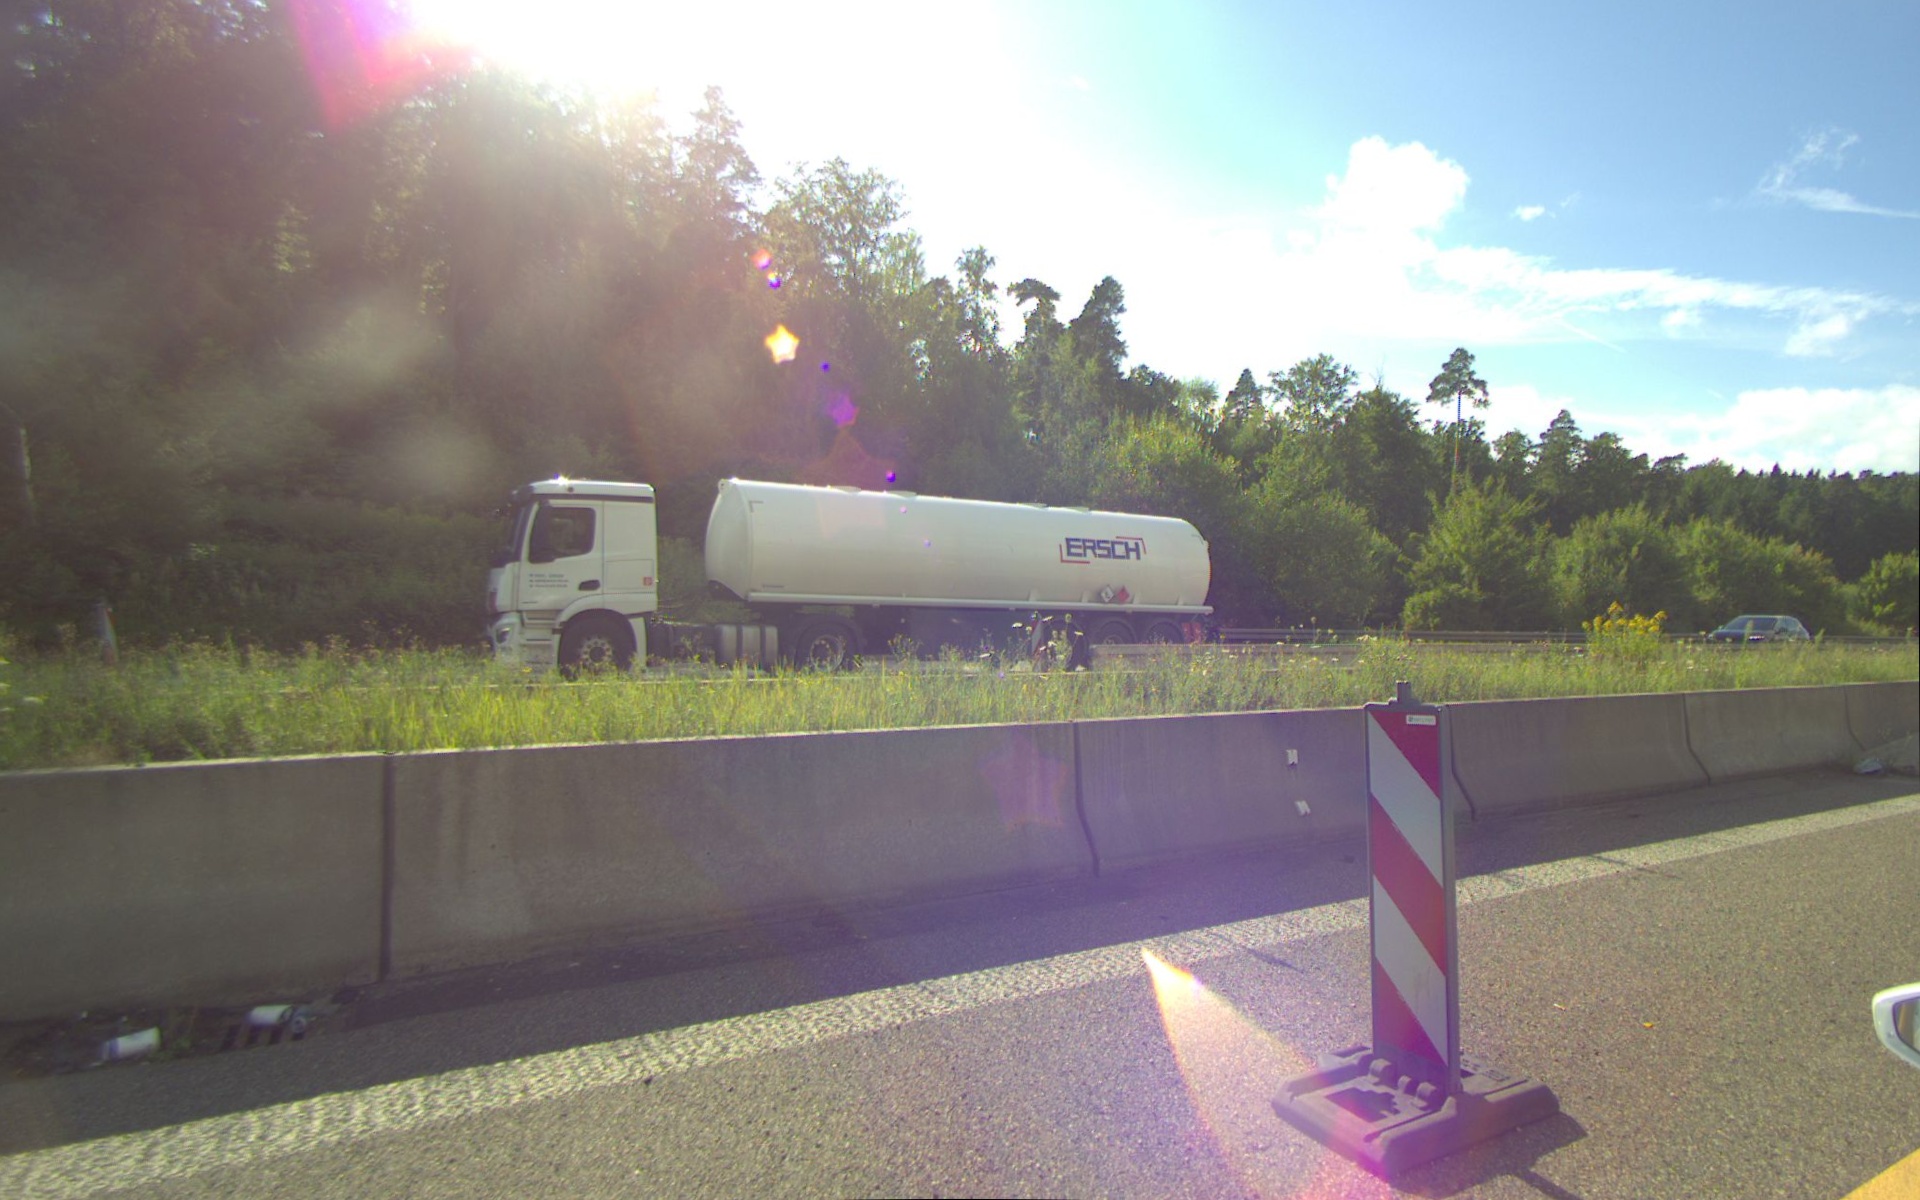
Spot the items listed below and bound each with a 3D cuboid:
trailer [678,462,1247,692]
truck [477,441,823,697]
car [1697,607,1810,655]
[{"bbox_3d":[0.464,-0.225,19.364,10.978,3.536,2.789,2,0,-29],"label":"trailer"},{"bbox_3d":[-5.036,-0.384,16.296,4.879,3.536,2.773,2,0,-29],"label":"truck"},{"bbox_3d":[28.545,1.110,36.119,3.969,1.624,1.770,2,0,-29],"label":"car"}]
